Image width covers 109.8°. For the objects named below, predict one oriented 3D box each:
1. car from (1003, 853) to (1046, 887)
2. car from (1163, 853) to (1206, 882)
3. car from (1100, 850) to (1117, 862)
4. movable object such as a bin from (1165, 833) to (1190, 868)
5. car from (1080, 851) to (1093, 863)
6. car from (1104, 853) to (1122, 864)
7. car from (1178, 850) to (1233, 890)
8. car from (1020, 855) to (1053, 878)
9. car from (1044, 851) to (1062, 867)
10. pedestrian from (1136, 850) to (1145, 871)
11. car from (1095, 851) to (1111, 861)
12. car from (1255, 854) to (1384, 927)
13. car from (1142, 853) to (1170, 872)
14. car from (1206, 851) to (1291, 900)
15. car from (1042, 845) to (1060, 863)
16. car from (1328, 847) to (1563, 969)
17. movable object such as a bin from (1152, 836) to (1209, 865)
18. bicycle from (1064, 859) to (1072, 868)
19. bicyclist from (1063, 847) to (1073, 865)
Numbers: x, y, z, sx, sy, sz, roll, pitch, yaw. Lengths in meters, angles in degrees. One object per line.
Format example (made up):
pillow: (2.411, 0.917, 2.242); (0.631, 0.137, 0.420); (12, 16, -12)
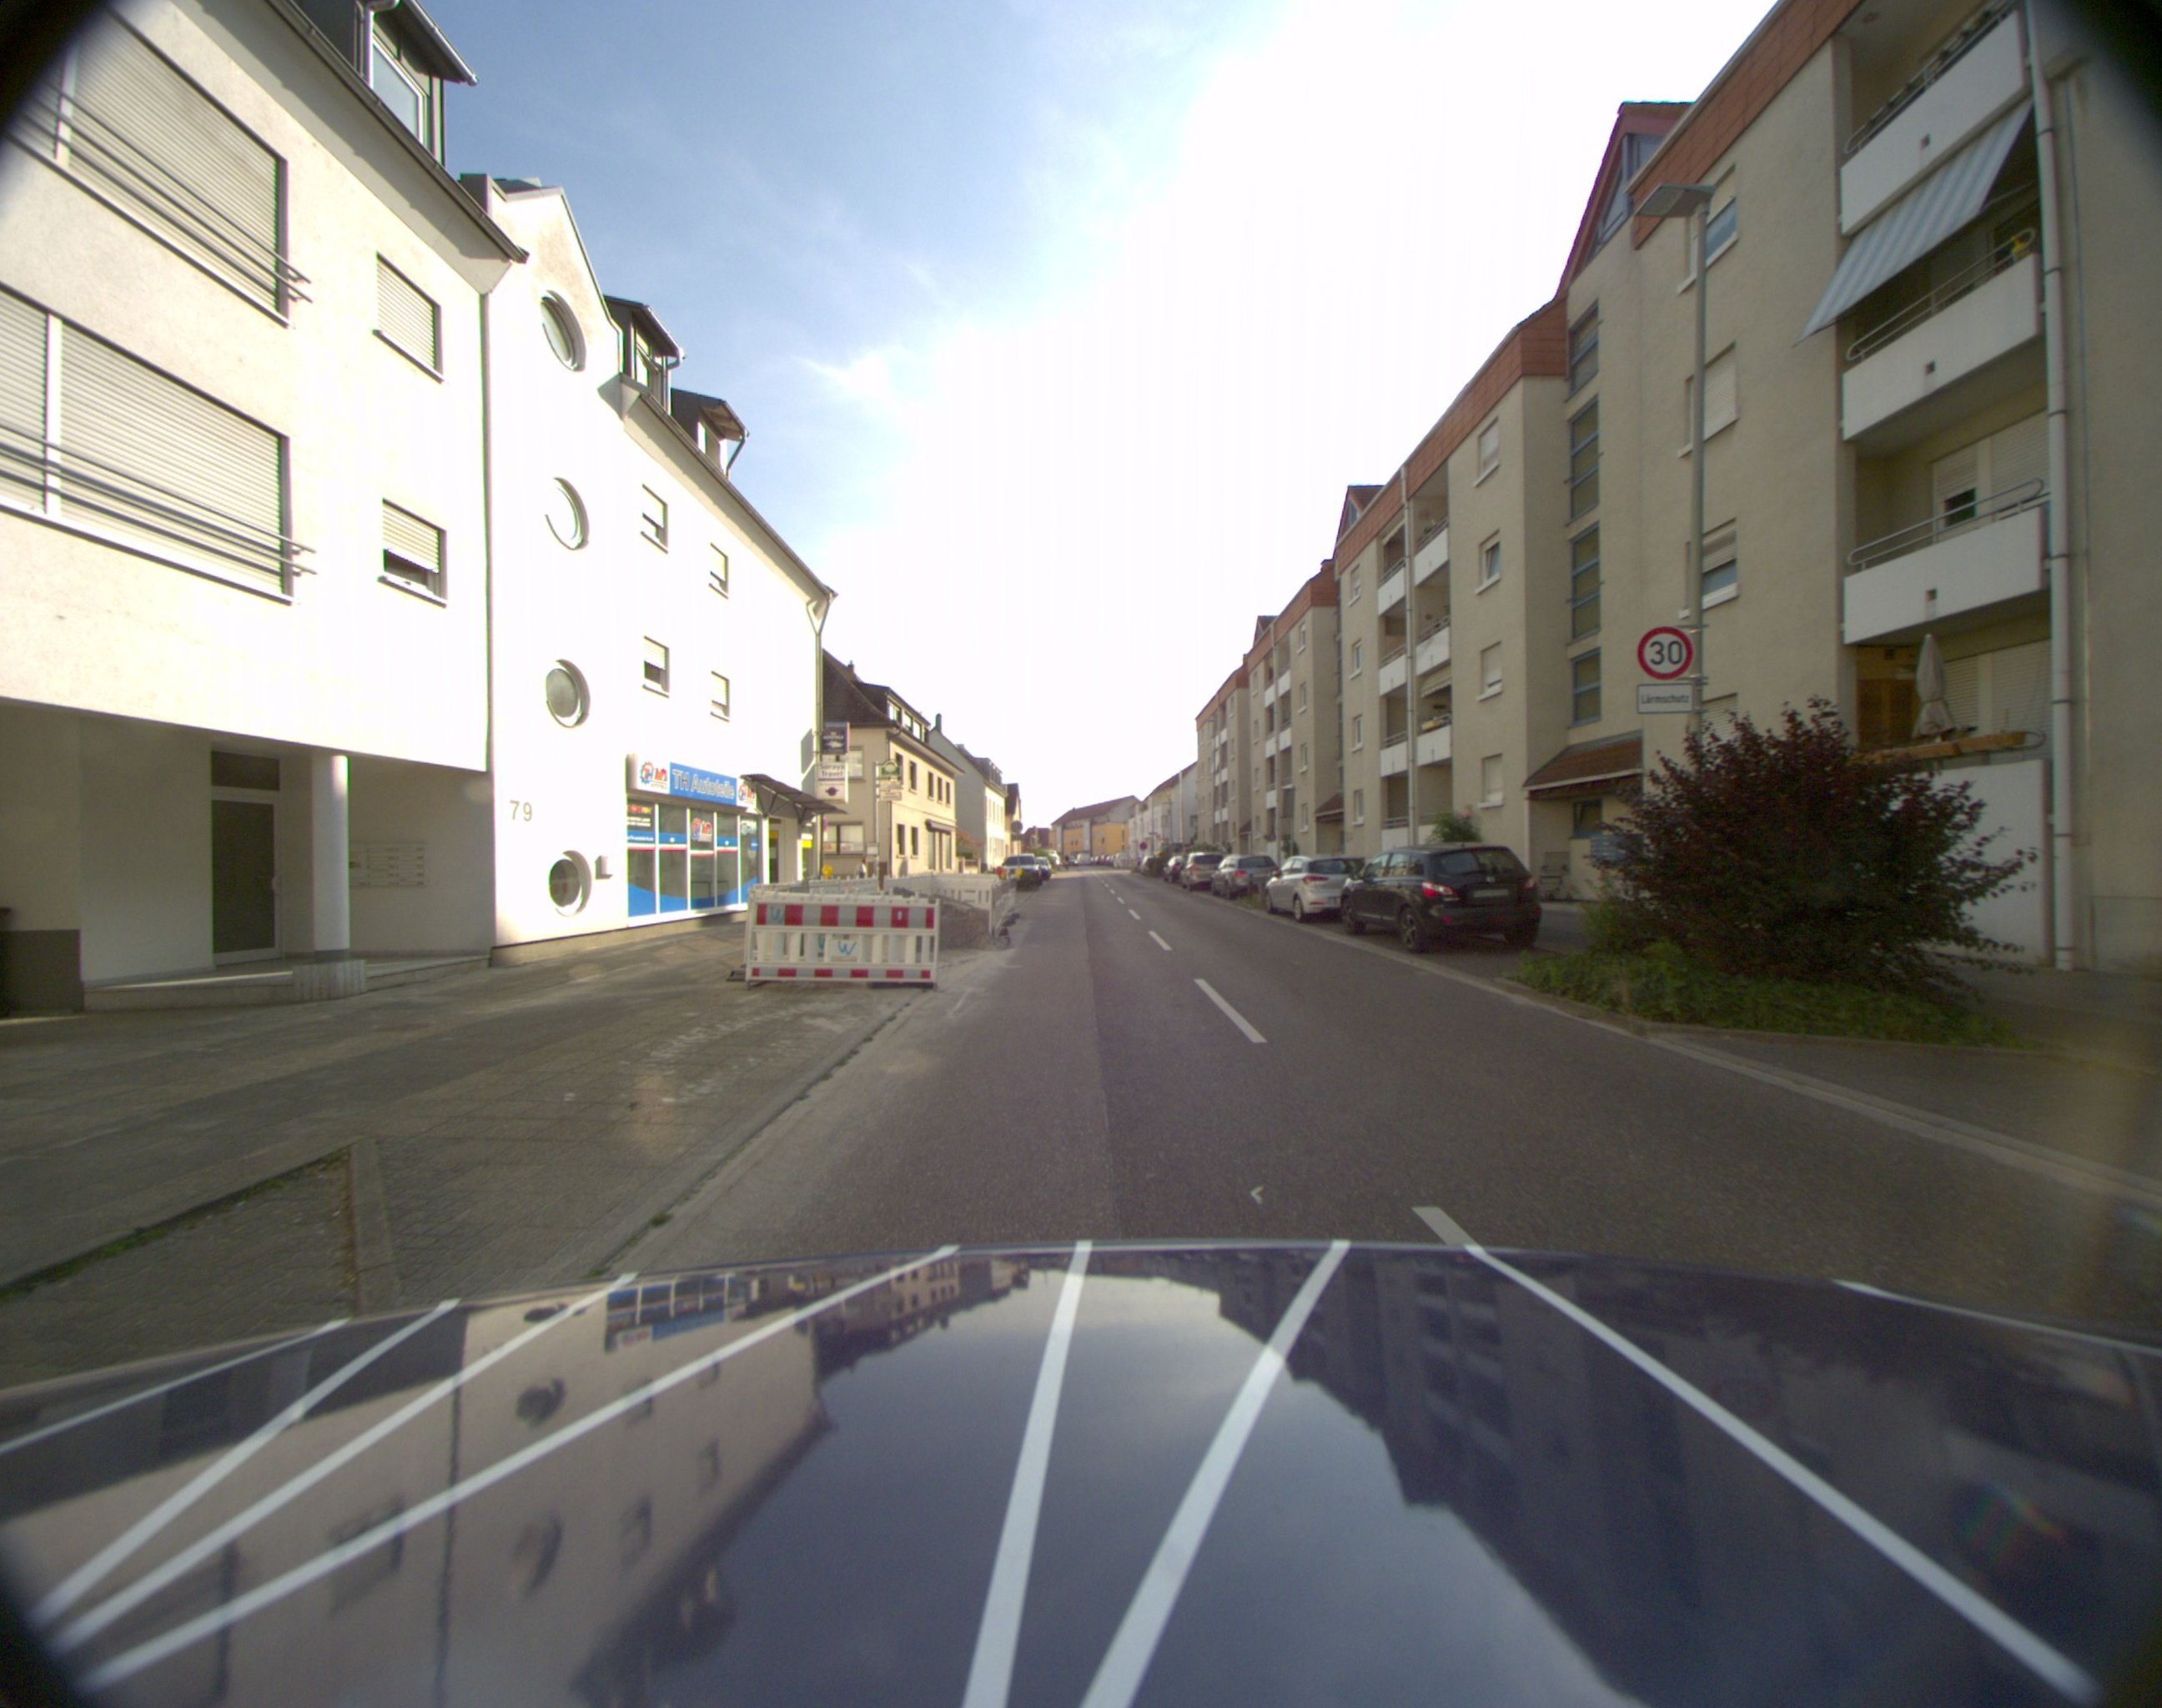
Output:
car: (-2.823, 0.775, 38.578); (1.834, 1.620, 4.462); (0, 0, 0)
car: (5.504, 0.686, 40.819); (1.690, 1.397, 4.083); (-2, 0, -1)
car: (4.093, 0.292, 113.025); (1.733, 1.612, 4.260); (-1, 0, -8)
movable object such as a bin: (8.800, -0.304, 69.673); (1.652, 3.120, 3.899); (-1, 0, -2)
car: (0.871, 0.460, 117.429); (1.927, 1.756, 4.337); (-1, 0, -1)
car: (4.538, 0.595, 107.161); (1.732, 1.469, 4.260); (-3, 0, -8)
car: (5.261, 0.645, 32.479); (1.731, 1.546, 3.965); (-2, 0, 1)
car: (-2.852, 0.787, 49.215); (1.834, 1.412, 4.608); (0, 0, 0)
car: (-2.941, 0.488, 80.616); (1.817, 1.674, 4.476); (0, 0, -1)
pedestrian: (5.367, 0.572, 68.458); (0.720, 1.808, 0.745); (-2, 0, 0)
car: (3.446, 0.377, 117.861); (1.733, 1.469, 4.500); (-2, 0, -8)
car: (5.428, 0.760, 17.835); (1.690, 1.446, 4.140); (-2, 0, 0)
car: (5.811, 0.639, 59.218); (1.645, 1.387, 3.670); (-1, 0, -2)
car: (5.650, 0.683, 26.192); (1.812, 1.512, 4.369); (-2, 0, -2)
car: (-3.965, 0.056, 100.114); (2.180, 2.313, 4.996); (1, 0, -3)
car: (5.616, 0.719, 12.403); (1.690, 1.594, 4.369); (-2, 0, -1)
movable object such as a bin: (10.532, -0.342, 80.341); (5.516, 2.883, 2.110); (-2, 0, -12)
bicycle: (-1.272, 0.908, 73.435); (0.680, 0.849, 2.026); (-1, 0, -4)
bicyclist: (-1.268, 0.221, 73.465); (0.845, 1.680, 0.877); (-1, 1, -5)
